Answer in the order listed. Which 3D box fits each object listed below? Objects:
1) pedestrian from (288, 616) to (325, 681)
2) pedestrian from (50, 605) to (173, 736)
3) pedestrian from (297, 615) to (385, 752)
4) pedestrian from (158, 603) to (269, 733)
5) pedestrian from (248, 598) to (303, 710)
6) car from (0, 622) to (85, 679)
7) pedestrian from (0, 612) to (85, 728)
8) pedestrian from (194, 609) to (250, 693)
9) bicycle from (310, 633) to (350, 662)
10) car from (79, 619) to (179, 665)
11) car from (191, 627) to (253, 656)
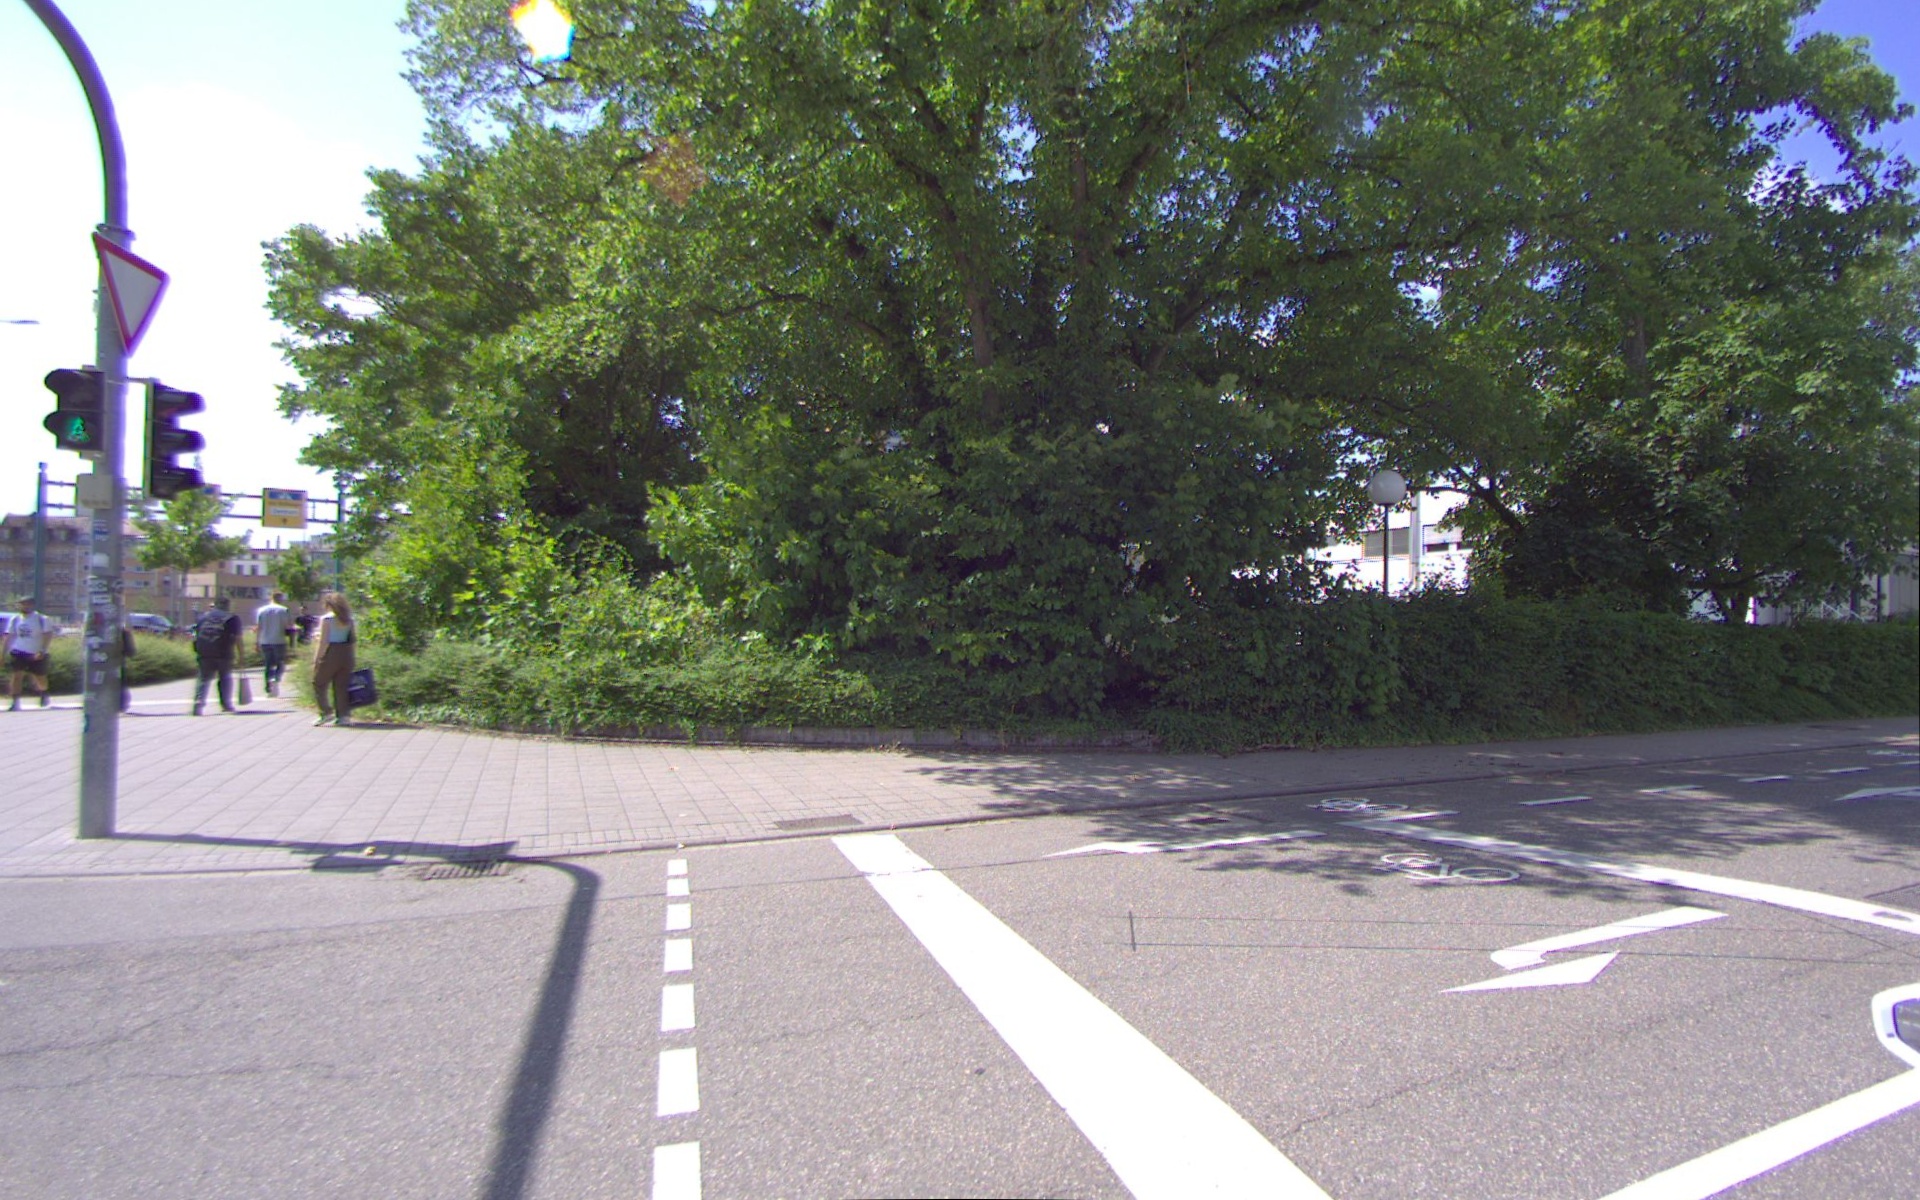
[{"bbox_3d":[-20.578,1.519,31.652,0.830,1.995,0.855,2,-2,-26],"label":"pedestrian"},{"bbox_3d":[-11.699,0.941,13.896,0.783,1.727,1.180,0,-1,-10],"label":"pedestrian"},{"bbox_3d":[-7.924,1.027,12.853,0.850,1.648,1.009,1,0,-38],"label":"pedestrian"},{"bbox_3d":[-10.390,0.925,14.034,0.783,1.727,1.180,0,-1,-10],"label":"pedestrian"},{"bbox_3d":[-11.610,0.911,17.064,0.665,1.845,0.697,2,-2,-31],"label":"pedestrian"},{"bbox_3d":[-28.850,1.477,30.481,1.996,1.550,4.859,3,-3,-23],"label":"car"},{"bbox_3d":[-14.150,1.051,15.410,0.842,1.723,0.926,0,-2,-24],"label":"pedestrian"},{"bbox_3d":[-17.177,1.181,23.400,0.830,1.892,1.012,2,-2,-26],"label":"pedestrian"},{"bbox_3d":[-46.037,3.458,73.450,1.974,2.039,3.974,4,-4,-26],"label":"bicycle"},{"bbox_3d":[-32.090,1.595,38.922,1.808,1.622,4.368,3,-2,-24],"label":"car"},{"bbox_3d":[-34.965,1.954,47.661,1.594,1.342,3.497,2,-2,-24],"label":"car"}]
